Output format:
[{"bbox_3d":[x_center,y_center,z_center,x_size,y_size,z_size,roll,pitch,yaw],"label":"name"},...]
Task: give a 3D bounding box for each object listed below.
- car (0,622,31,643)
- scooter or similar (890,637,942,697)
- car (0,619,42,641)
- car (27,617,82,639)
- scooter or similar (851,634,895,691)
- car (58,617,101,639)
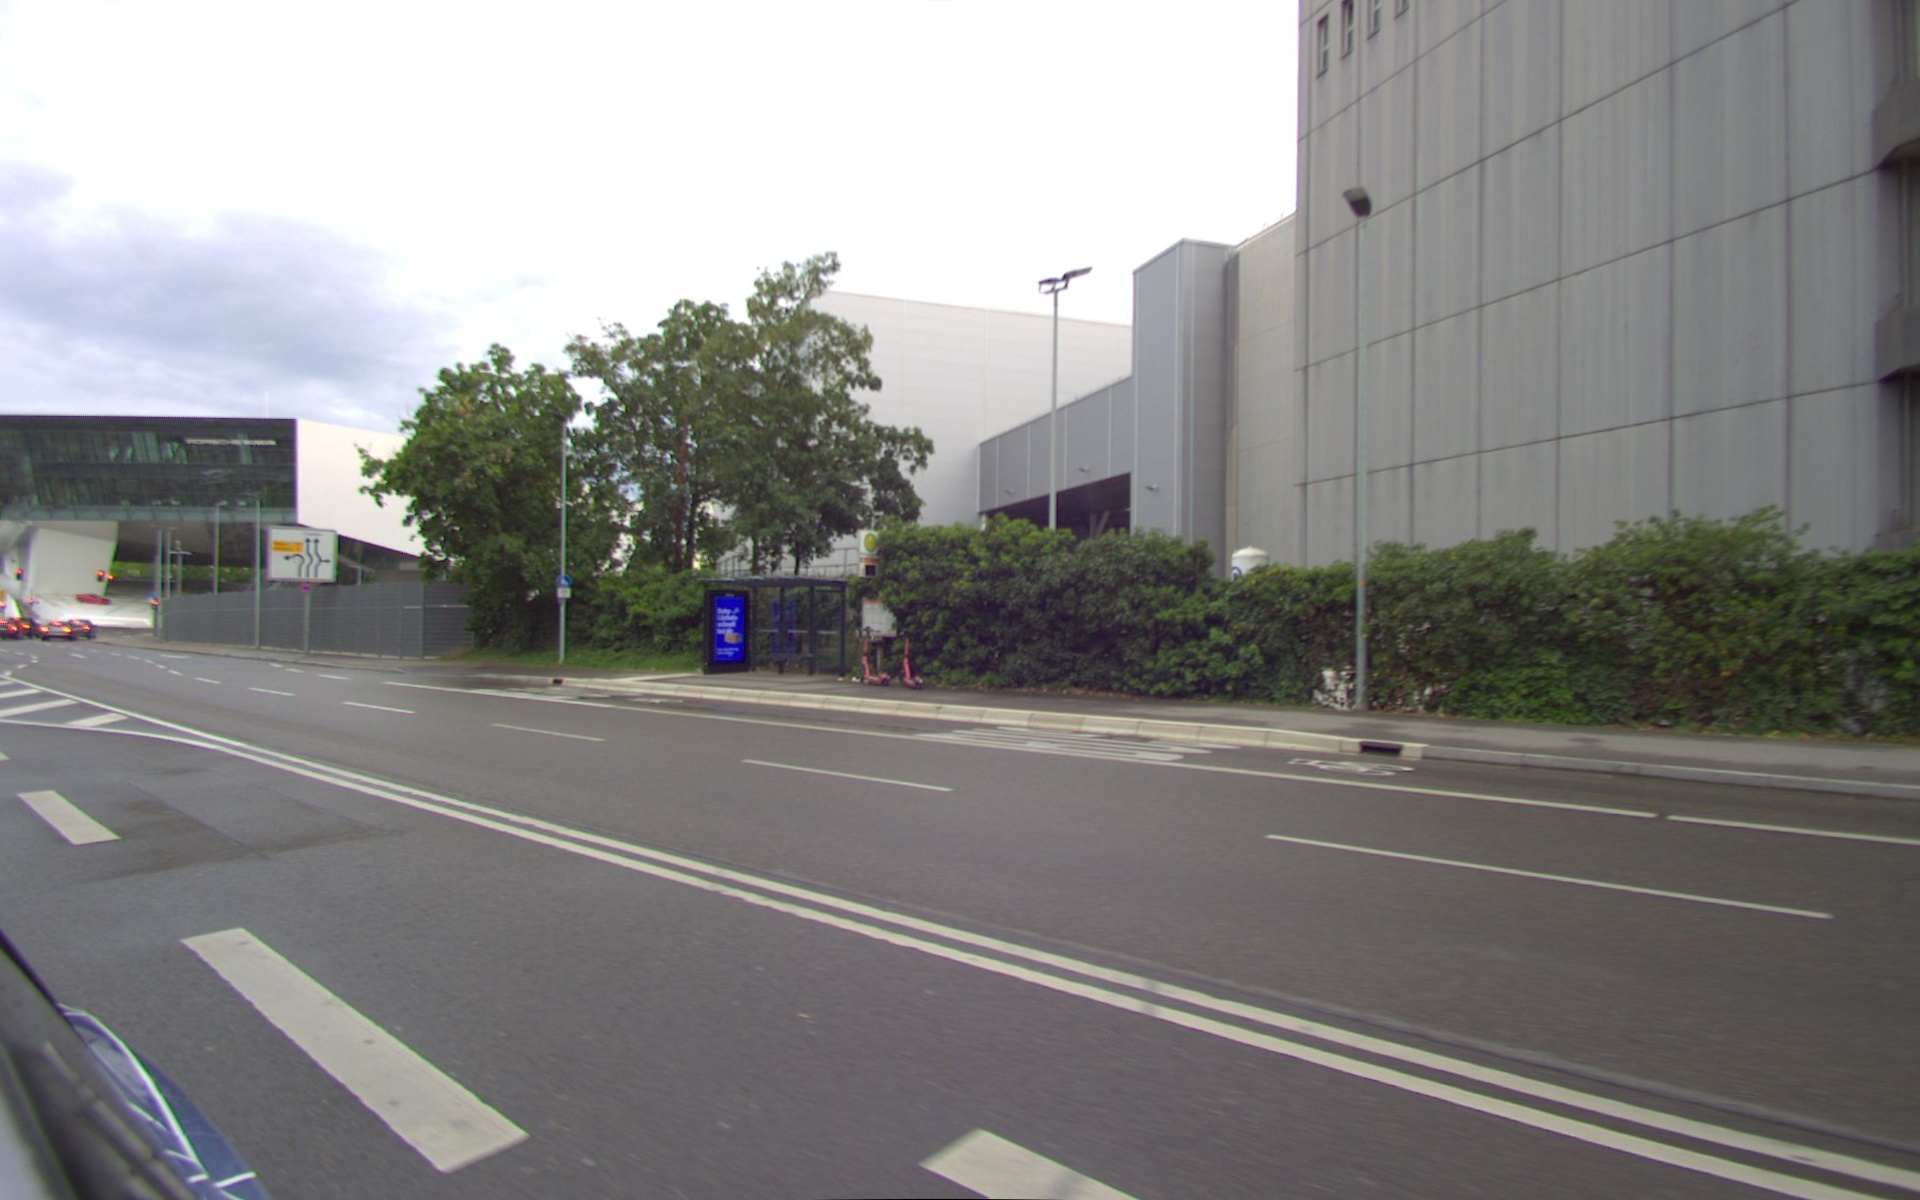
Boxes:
[{"bbox_3d":[-69.191,2.320,73.219,2.221,1.488,3.890,1,-2,-31],"label":"car"},{"bbox_3d":[-0.921,1.372,20.988,0.373,1.190,1.381,1,-2,-35],"label":"scooter or similar"},{"bbox_3d":[-72.930,2.328,78.566,1.850,1.663,3.863,1,-2,-33],"label":"car"},{"bbox_3d":[-66.122,2.036,73.957,2.233,1.488,4.059,1,-2,-31],"label":"car"},{"bbox_3d":[-1.916,1.357,22.265,0.383,1.189,1.253,1,-2,-35],"label":"scooter or similar"},{"bbox_3d":[-69.771,2.229,80.206,1.834,1.663,3.799,1,-2,-30],"label":"car"}]
